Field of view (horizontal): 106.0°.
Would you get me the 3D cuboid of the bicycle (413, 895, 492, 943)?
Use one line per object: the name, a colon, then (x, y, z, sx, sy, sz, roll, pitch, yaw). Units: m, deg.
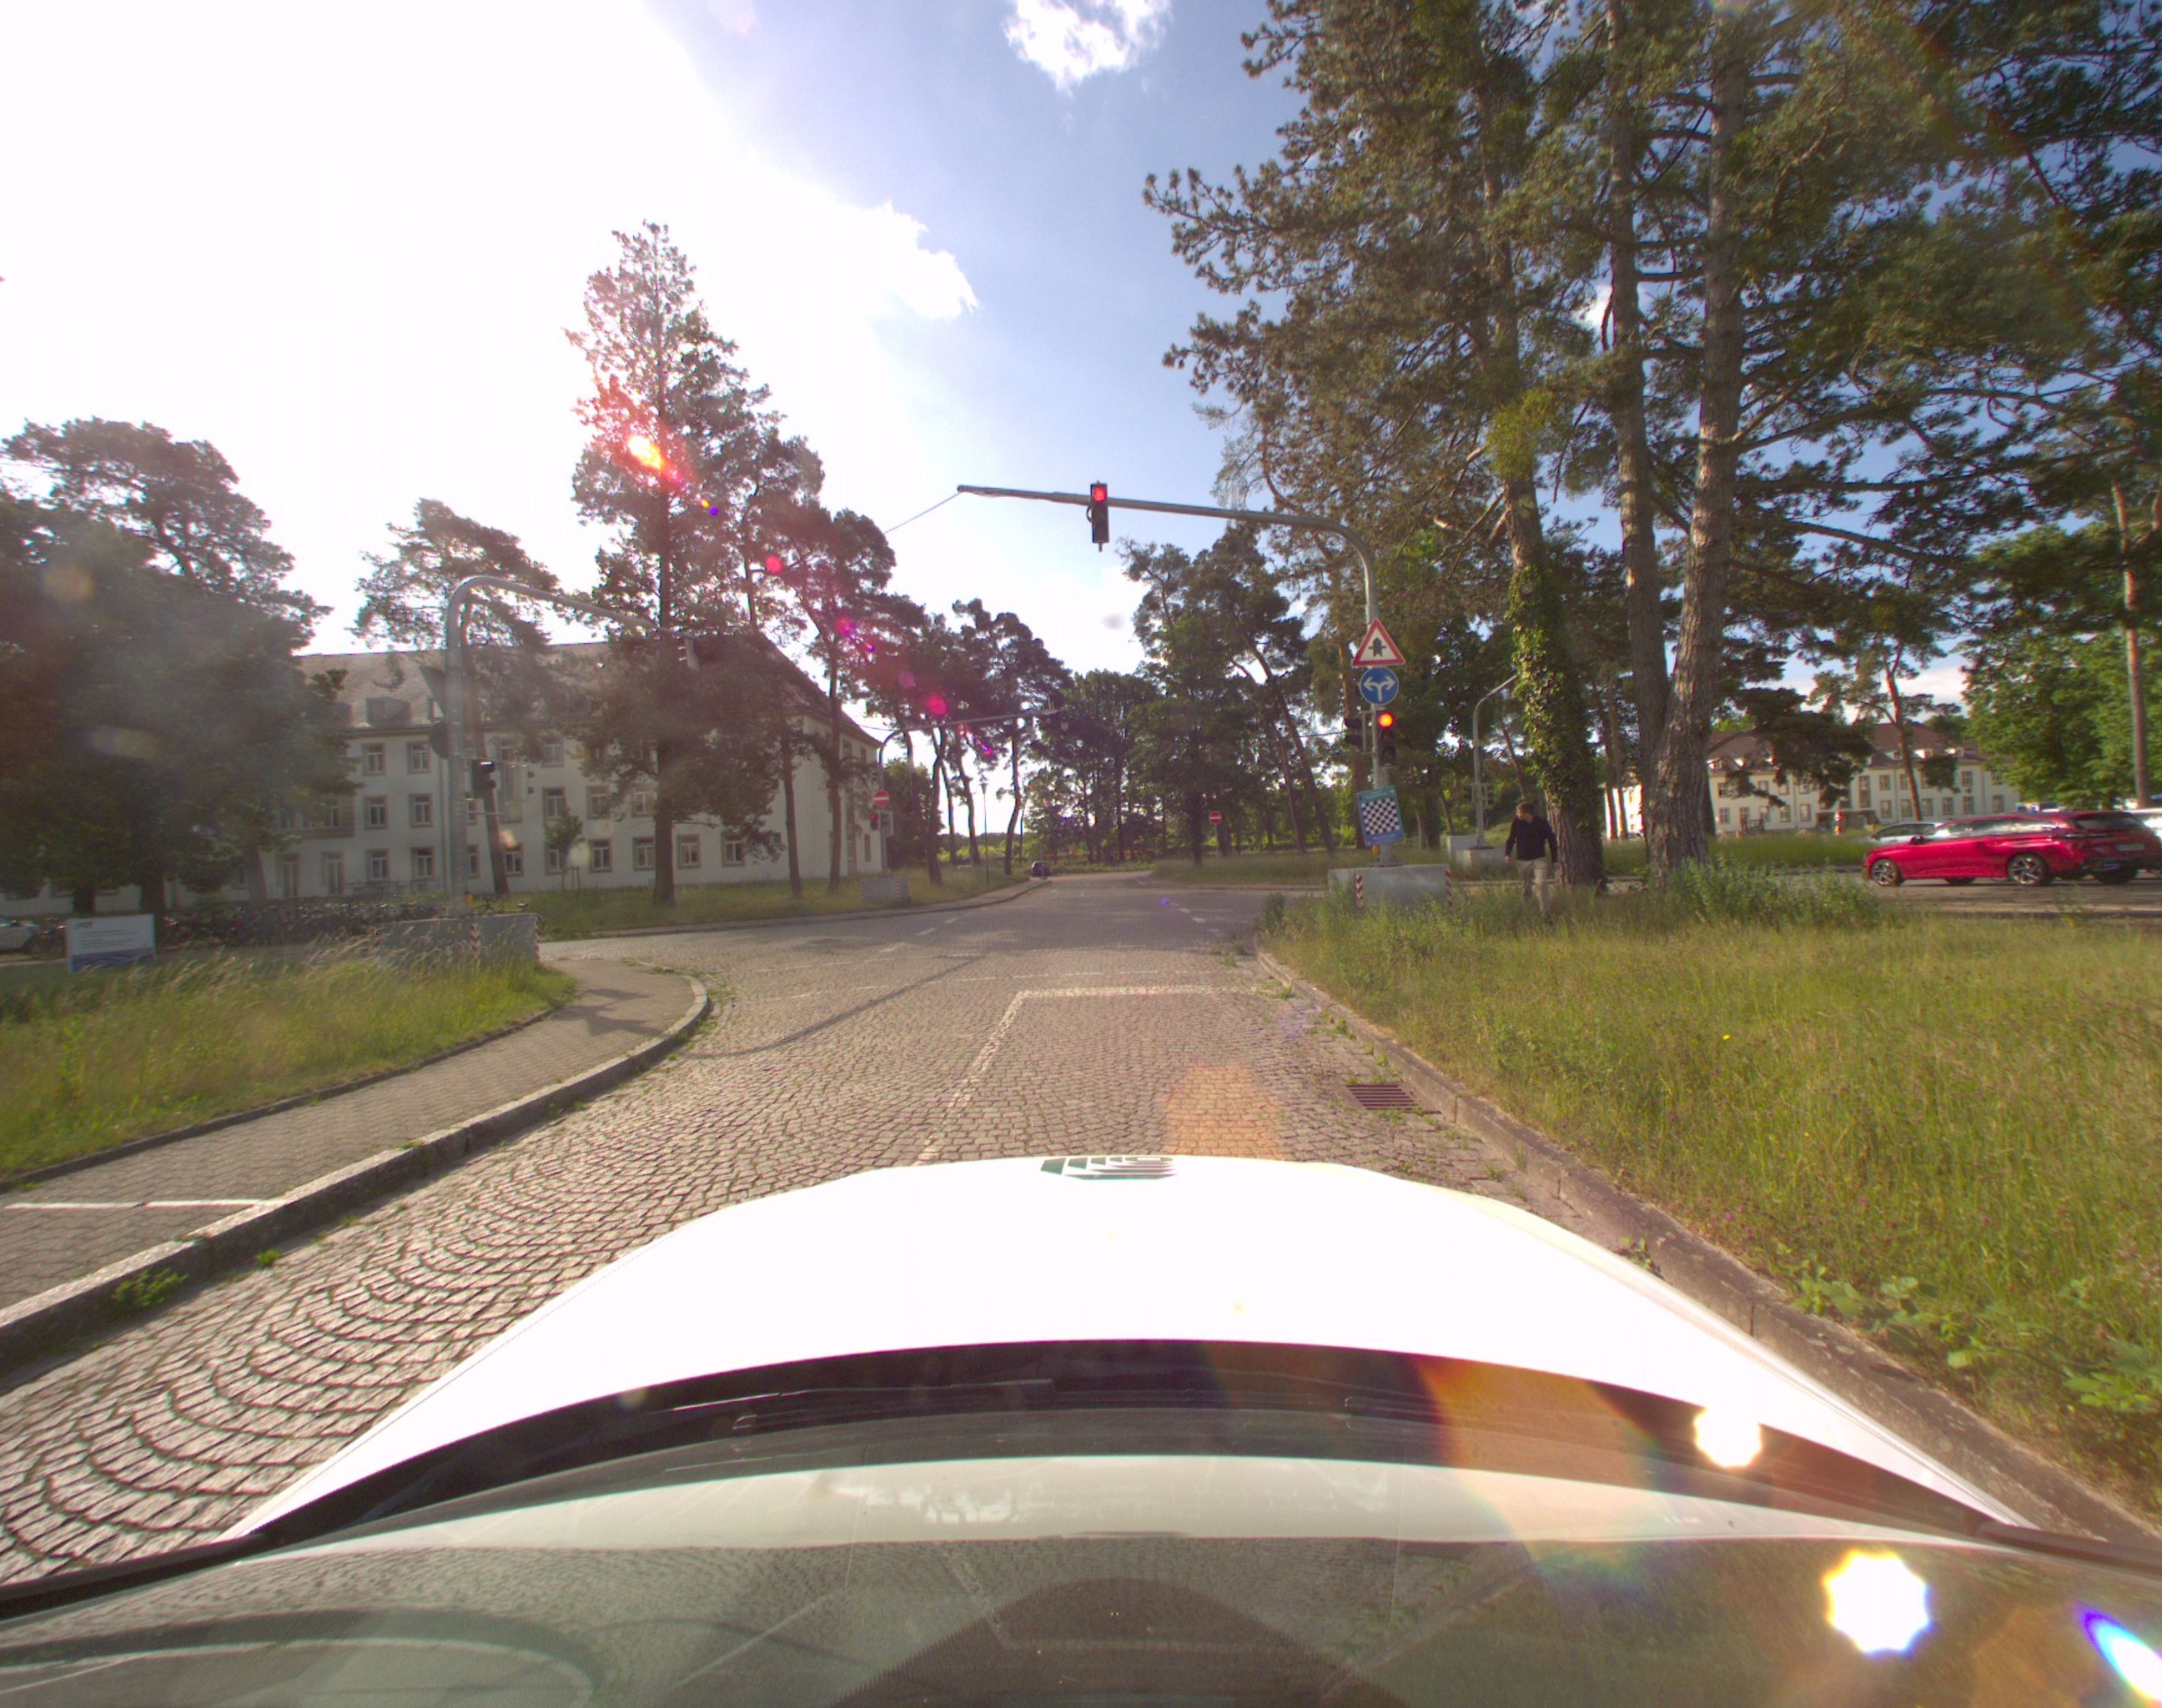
bicycle: (-18.630, 1.897, 24.198, 0.631, 1.220, 2.104, -3, 0, 1)

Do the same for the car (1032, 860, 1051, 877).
car: (-3.911, 1.400, 80.665, 1.705, 1.496, 3.917, -3, 0, -1)

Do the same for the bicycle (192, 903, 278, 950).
bicycle: (-25.760, 2.190, 24.840, 0.512, 1.220, 1.937, -3, 0, 1)

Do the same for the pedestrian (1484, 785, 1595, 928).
pedestrian: (6.186, 0.040, 11.014, 1.157, 1.796, 1.069, -3, 0, 29)

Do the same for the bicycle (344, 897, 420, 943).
bicycle: (-21.306, 1.976, 24.869, 0.512, 1.220, 2.016, -3, 0, 1)

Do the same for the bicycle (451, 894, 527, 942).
bicycle: (-17.543, 1.864, 24.197, 0.631, 1.220, 2.114, -3, 0, 1)

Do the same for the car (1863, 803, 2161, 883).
car: (18.793, -0.159, 16.649, 1.649, 1.399, 4.130, -2, -1, 1)

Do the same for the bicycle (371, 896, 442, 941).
bicycle: (-20.789, 1.962, 25.143, 0.546, 1.220, 1.900, -3, 0, 1)

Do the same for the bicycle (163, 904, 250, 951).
bicycle: (-26.637, 2.215, 24.849, 0.512, 1.220, 1.937, -3, 0, 1)

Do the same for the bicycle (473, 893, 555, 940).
bicycle: (-16.301, 1.781, 23.433, 1.855, 1.220, 0.635, -3, 0, 0)

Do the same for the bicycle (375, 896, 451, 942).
bicycle: (-20.224, 1.946, 24.719, 0.576, 1.220, 2.029, -3, 0, 1)

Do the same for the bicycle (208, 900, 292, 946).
bicycle: (-25.301, 2.085, 24.836, 0.512, 1.220, 1.937, -3, 0, 1)

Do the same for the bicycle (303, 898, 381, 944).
bicycle: (-22.472, 2.006, 24.820, 0.512, 1.220, 1.977, -3, 0, 1)

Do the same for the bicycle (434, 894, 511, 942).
bicycle: (-18.027, 1.879, 24.189, 0.631, 1.220, 2.124, -3, 0, 1)

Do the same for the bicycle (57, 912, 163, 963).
bicycle: (-27.606, 2.354, 23.190, 1.837, 1.220, 0.510, -3, 0, -35)

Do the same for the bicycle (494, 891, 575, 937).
bicycle: (-16.186, 1.759, 24.147, 1.938, 1.220, 0.635, -3, 0, 0)

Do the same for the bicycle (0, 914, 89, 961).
bicycle: (-31.048, 2.481, 24.396, 0.513, 1.220, 1.824, -3, 0, -7)

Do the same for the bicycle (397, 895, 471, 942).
bicycle: (-19.479, 1.922, 24.587, 0.570, 1.220, 1.990, -3, 0, 1)

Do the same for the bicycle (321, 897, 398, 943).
bicycle: (-21.955, 1.995, 24.825, 0.512, 1.220, 1.977, -3, 0, 1)

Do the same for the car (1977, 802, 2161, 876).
car: (21.659, -0.308, 16.719, 1.773, 1.379, 4.239, -3, -2, 0)

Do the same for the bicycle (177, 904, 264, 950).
bicycle: (-26.190, 2.202, 24.841, 0.512, 1.220, 1.937, -3, 0, 1)

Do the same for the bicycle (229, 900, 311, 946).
bicycle: (-24.691, 2.067, 24.846, 0.512, 1.220, 1.937, -3, 0, 1)

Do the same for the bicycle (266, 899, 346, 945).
bicycle: (-23.553, 2.034, 24.801, 0.512, 1.220, 1.937, -3, 0, 1)

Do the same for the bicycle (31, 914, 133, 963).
bicycle: (-29.105, 2.432, 23.759, 0.509, 1.220, 1.841, -3, 0, 38)

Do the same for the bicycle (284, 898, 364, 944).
bicycle: (-22.998, 2.018, 24.789, 0.512, 1.220, 1.954, -3, 0, 1)

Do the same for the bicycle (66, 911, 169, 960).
bicycle: (-27.995, 2.360, 23.700, 1.837, 1.220, 0.510, -3, 0, -35)

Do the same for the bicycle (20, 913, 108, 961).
bicycle: (-30.442, 2.463, 24.411, 0.514, 1.220, 1.823, -3, 0, -9)

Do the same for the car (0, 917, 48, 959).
car: (-34.100, 2.673, 24.416, 1.504, 1.211, 3.596, -3, 0, 3)

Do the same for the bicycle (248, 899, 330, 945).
bicycle: (-24.098, 2.050, 24.825, 0.512, 1.220, 1.937, -3, 0, 1)
